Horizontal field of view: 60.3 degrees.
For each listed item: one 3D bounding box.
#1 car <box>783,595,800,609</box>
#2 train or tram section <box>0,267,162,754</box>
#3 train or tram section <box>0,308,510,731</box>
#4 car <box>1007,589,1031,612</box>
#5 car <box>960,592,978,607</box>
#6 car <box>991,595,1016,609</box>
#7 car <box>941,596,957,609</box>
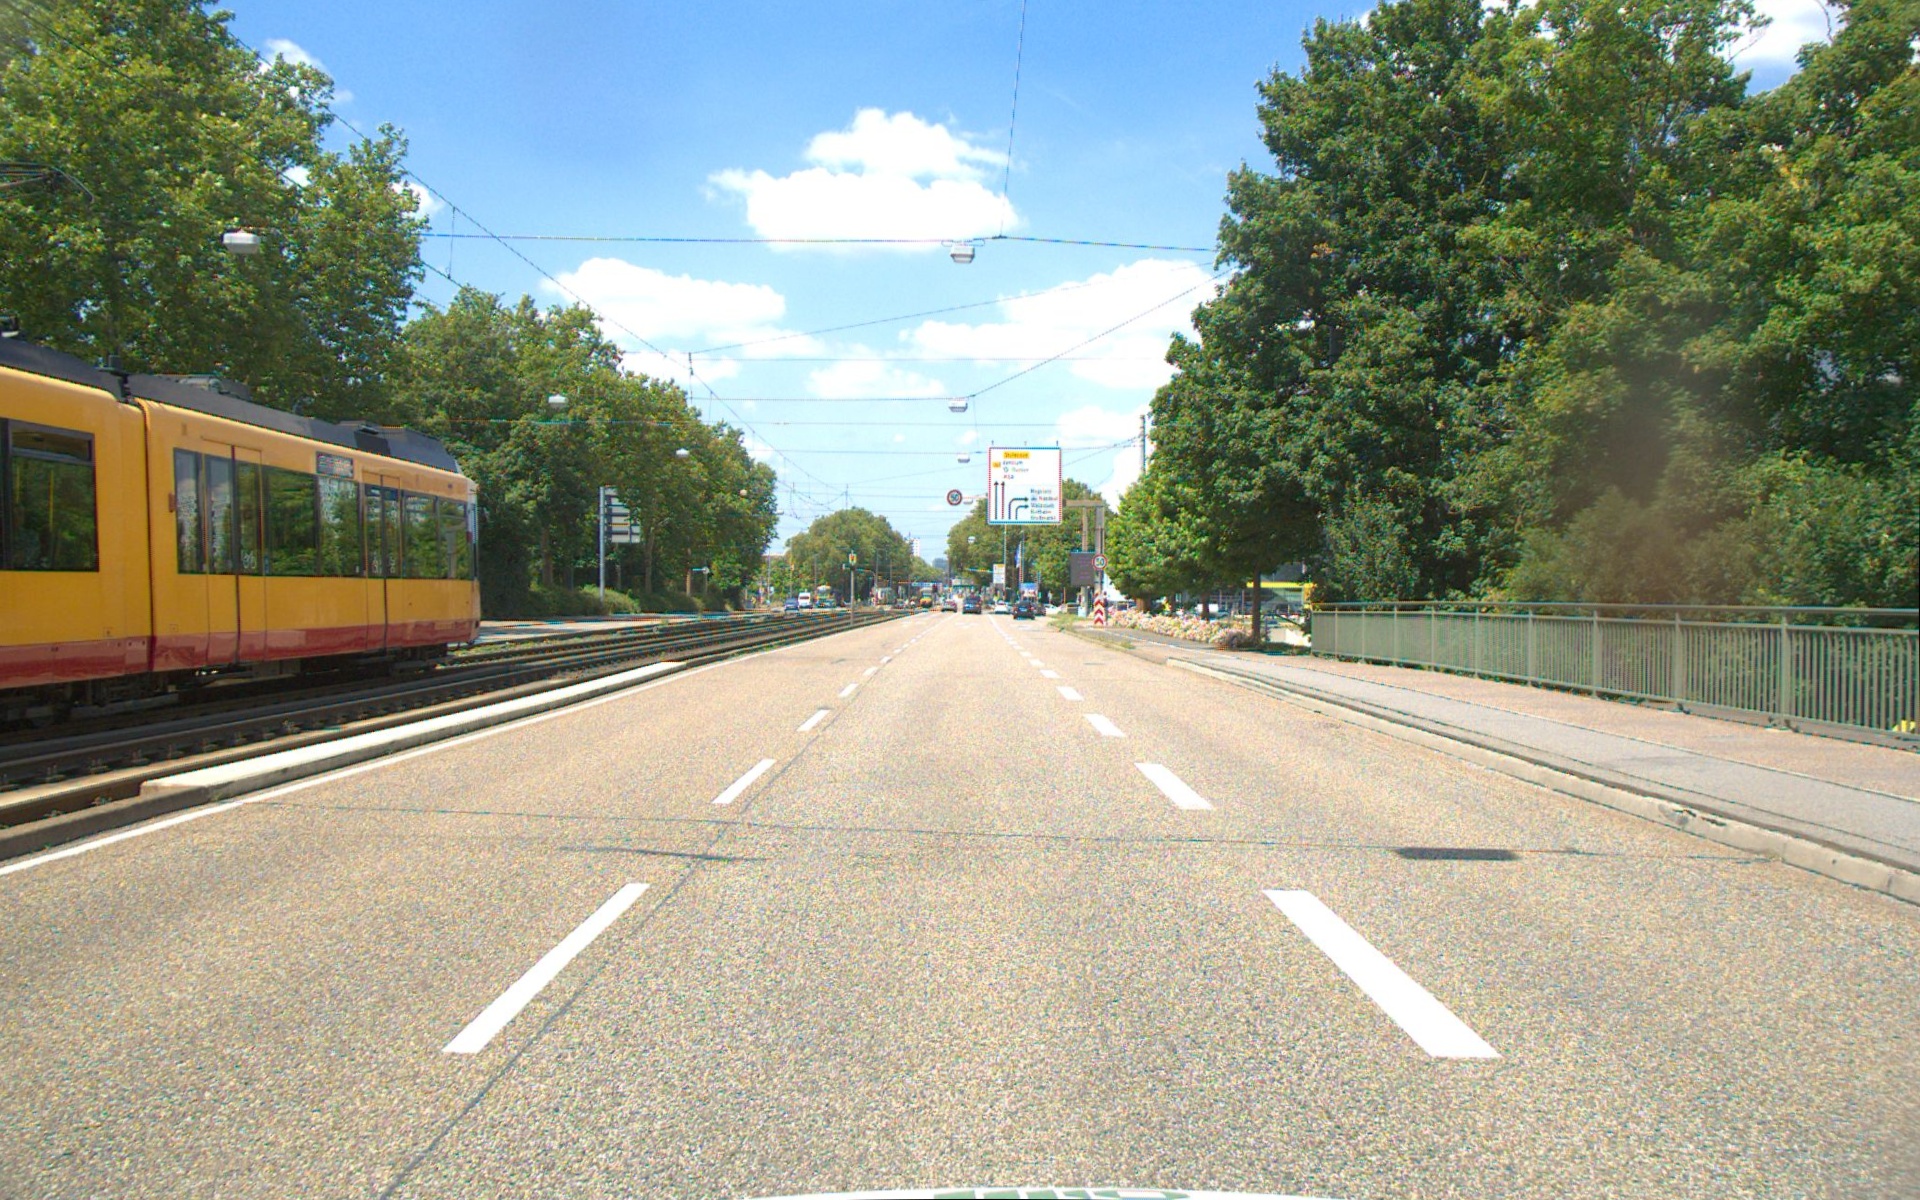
[{"bbox_3d":[-19.810,0.206,194.294,1.611,1.577,4.215,2,0,-2],"label":"car"},{"bbox_3d":[-9.794,-0.756,12.142,2.976,4.221,10.232,0,0,0],"label":"train or tram section"},{"bbox_3d":[-9.813,-0.854,23.451,2.975,4.213,13.982,0,0,0],"label":"train or tram section"},{"bbox_3d":[5.006,0.025,140.442,1.861,1.837,3.976,2,0,0],"label":"car"},{"bbox_3d":[0.950,-0.055,174.044,1.838,1.566,3.776,2,0,-1],"label":"car"},{"bbox_3d":[5.432,0.244,205.671,1.651,1.577,3.983,2,0,22],"label":"car"},{"bbox_3d":[-1.415,0.312,205.287,1.805,1.576,3.775,2,0,-2],"label":"car"}]
